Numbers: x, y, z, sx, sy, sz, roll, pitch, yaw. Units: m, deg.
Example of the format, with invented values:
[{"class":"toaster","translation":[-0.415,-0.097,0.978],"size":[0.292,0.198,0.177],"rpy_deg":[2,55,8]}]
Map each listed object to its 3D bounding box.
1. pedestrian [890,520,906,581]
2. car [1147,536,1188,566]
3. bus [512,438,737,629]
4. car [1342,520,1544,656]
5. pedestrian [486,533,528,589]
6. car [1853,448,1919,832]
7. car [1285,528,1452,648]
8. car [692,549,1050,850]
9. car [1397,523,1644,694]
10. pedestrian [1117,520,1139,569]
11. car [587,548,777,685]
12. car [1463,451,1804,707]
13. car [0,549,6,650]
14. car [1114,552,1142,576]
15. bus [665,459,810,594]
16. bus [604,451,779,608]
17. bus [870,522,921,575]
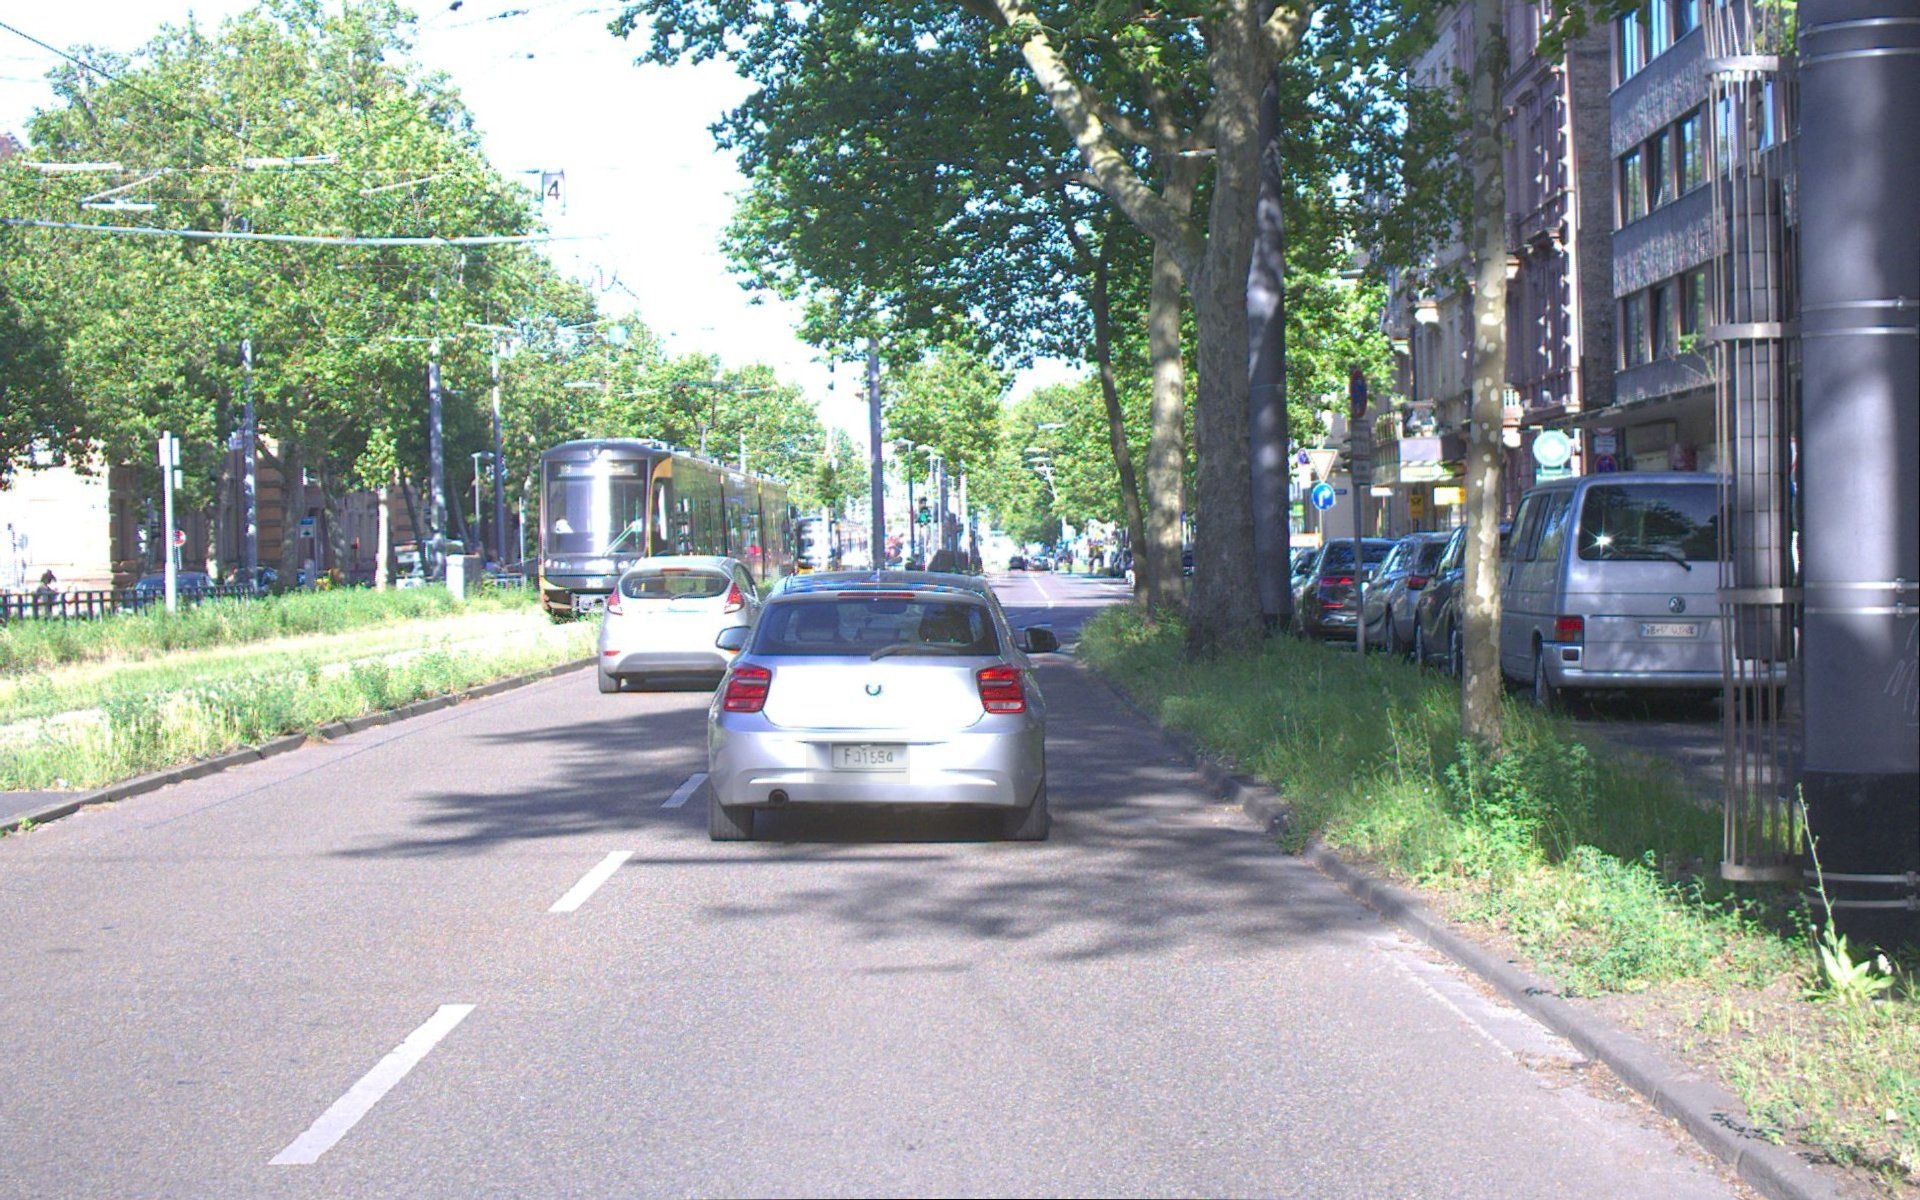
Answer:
[{"class":"pedestrian","translation":[-1.954,-1.548,108.051],"size":[0.450,1.896,0.585],"rpy_deg":[-1,1,-6]},{"class":"car","translation":[11.016,-2.588,182.644],"size":[1.993,1.504,4.597],"rpy_deg":[1,0,1]},{"class":"bus","translation":[-6.528,-1.339,69.124],"size":[2.869,3.432,13.217],"rpy_deg":[-1,1,1]},{"class":"car","translation":[5.551,-0.163,39.971],"size":[1.677,1.461,4.670],"rpy_deg":[1,1,0]},{"class":"pedestrian","translation":[-13.272,-1.144,100.736],"size":[1.176,1.638,0.893],"rpy_deg":[-1,0,-6]},{"class":"car","translation":[4.936,0.202,14.152],"size":[1.625,1.662,4.141],"rpy_deg":[1,1,3]},{"class":"car","translation":[5.361,-0.187,45.622],"size":[1.806,1.484,4.919],"rpy_deg":[1,1,2]},{"class":"car","translation":[-0.431,0.468,19.140],"size":[1.762,1.427,4.000],"rpy_deg":[1,2,0]},{"class":"car","translation":[5.270,0.029,32.800],"size":[1.704,1.497,4.358],"rpy_deg":[1,1,1]},{"class":"pedestrian","translation":[7.015,-2.315,143.799],"size":[0.838,2.007,0.648],"rpy_deg":[1,1,8]},{"class":"car","translation":[-2.977,0.142,37.448],"size":[1.647,1.358,3.760],"rpy_deg":[1,2,1]},{"class":"car","translation":[5.175,-0.213,27.039],"size":[1.865,1.809,4.799],"rpy_deg":[1,2,2]},{"class":"car","translation":[-15.452,0.023,50.483],"size":[1.844,1.525,3.875],"rpy_deg":[1,1,-1]},{"class":"car","translation":[11.210,-2.424,229.558],"size":[1.700,1.529,3.717],"rpy_deg":[1,1,1]},{"class":"bus","translation":[-5.954,-1.991,93.879],"size":[2.869,3.432,11.611],"rpy_deg":[-1,1,1]},{"class":"bus","translation":[-6.238,-1.677,81.878],"size":[2.869,3.432,12.215],"rpy_deg":[-1,1,1]},{"class":"bus","translation":[-4.501,-3.744,244.426],"size":[2.750,3.613,18.847],"rpy_deg":[-1,1,1]}]
